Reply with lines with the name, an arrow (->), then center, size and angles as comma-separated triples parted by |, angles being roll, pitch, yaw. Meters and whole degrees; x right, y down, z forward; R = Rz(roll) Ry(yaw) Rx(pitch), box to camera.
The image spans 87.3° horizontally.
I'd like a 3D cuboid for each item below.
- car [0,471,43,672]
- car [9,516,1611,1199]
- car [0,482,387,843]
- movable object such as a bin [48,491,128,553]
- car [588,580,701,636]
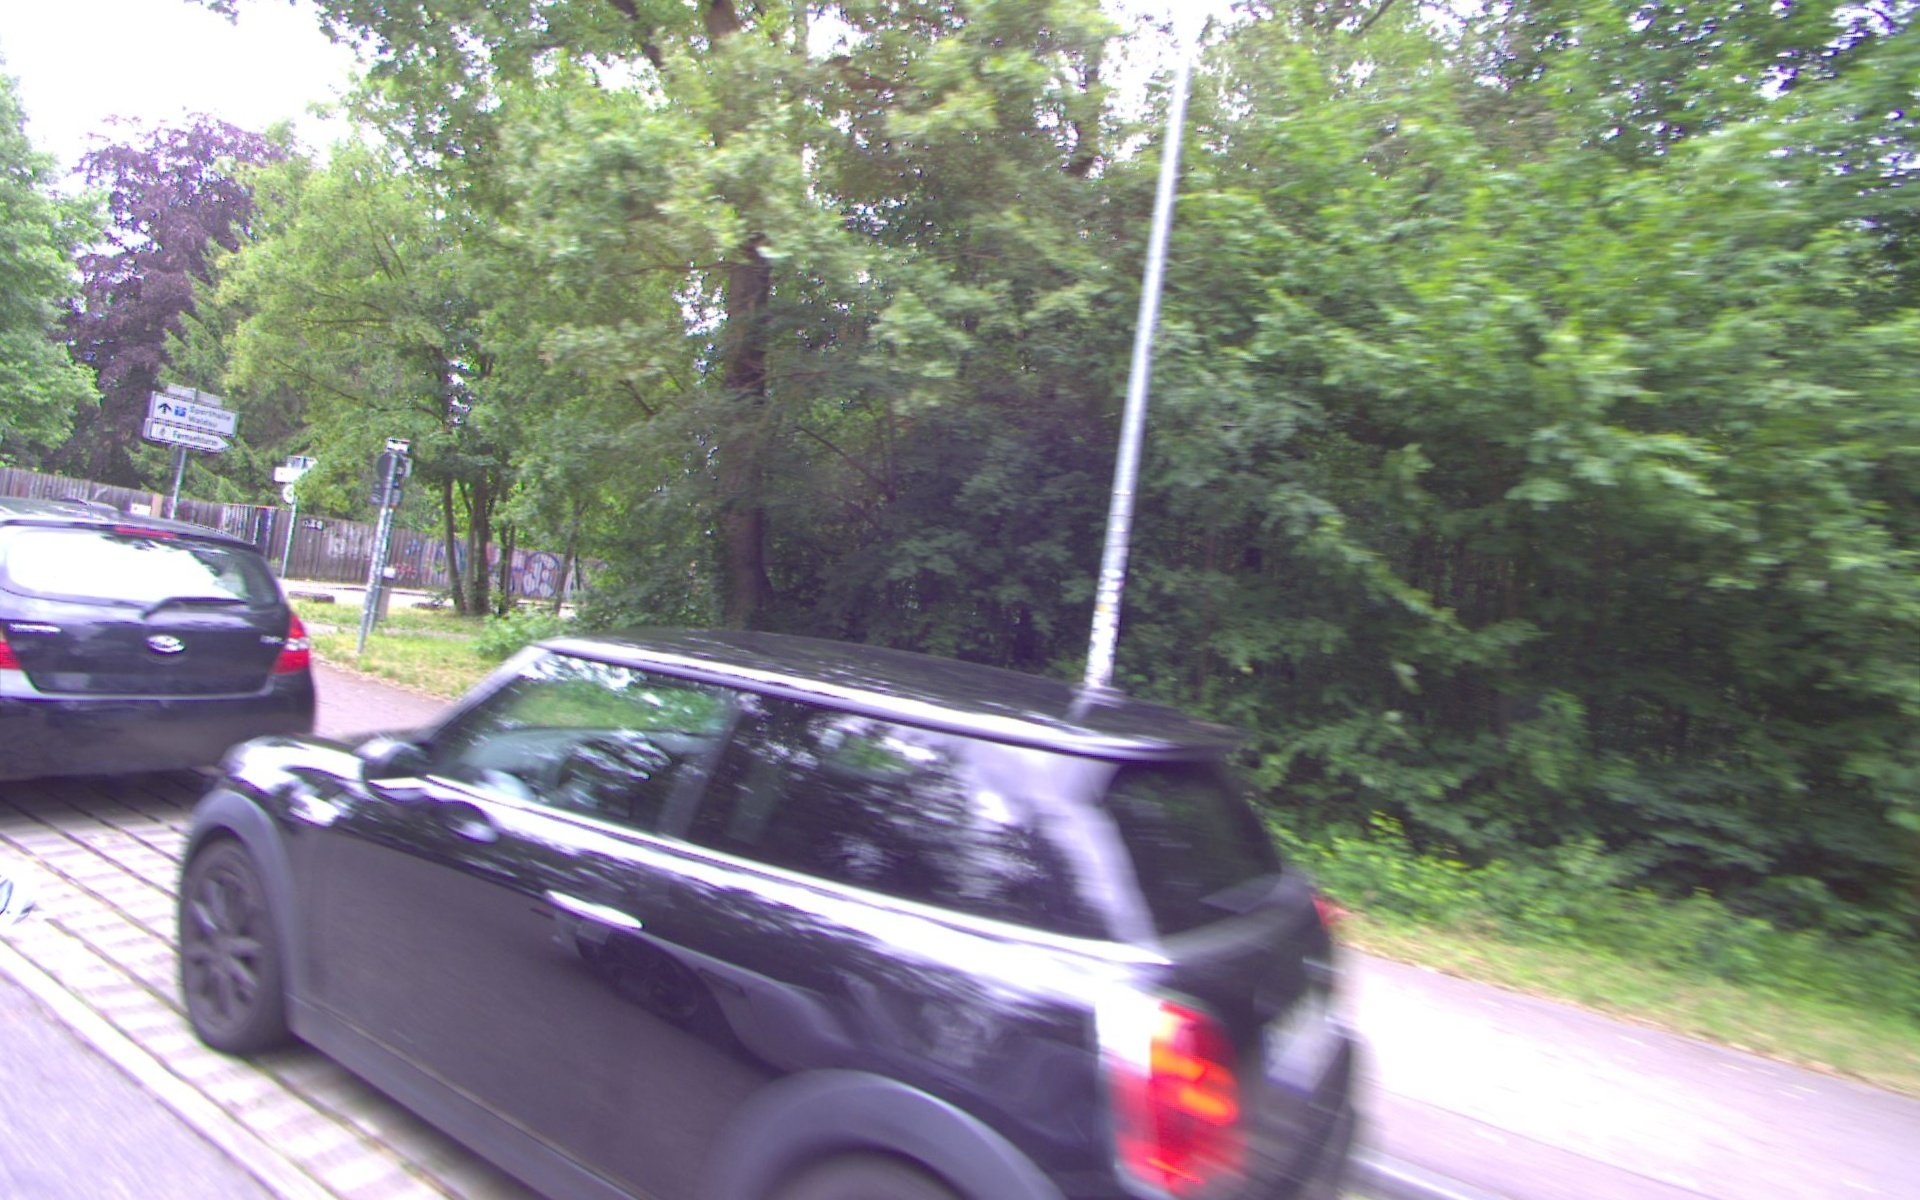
car -> -10.107, -0.527, 8.894 | 4.303, 1.652, 1.740 | 7, -2, 32
car -> -0.792, 0.761, 3.097 | 4.424, 1.448, 1.741 | 7, -2, 29
car -> -5.427, 0.124, 5.867 | 4.164, 1.512, 1.740 | 7, -2, 32
movable object such as a bin -> -24.176, -2.147, 27.923 | 1.062, 1.459, 1.283 | 8, -2, -13
car -> -12.047, 0.343, 38.737 | 1.879, 1.525, 4.003 | 11, -1, 21
